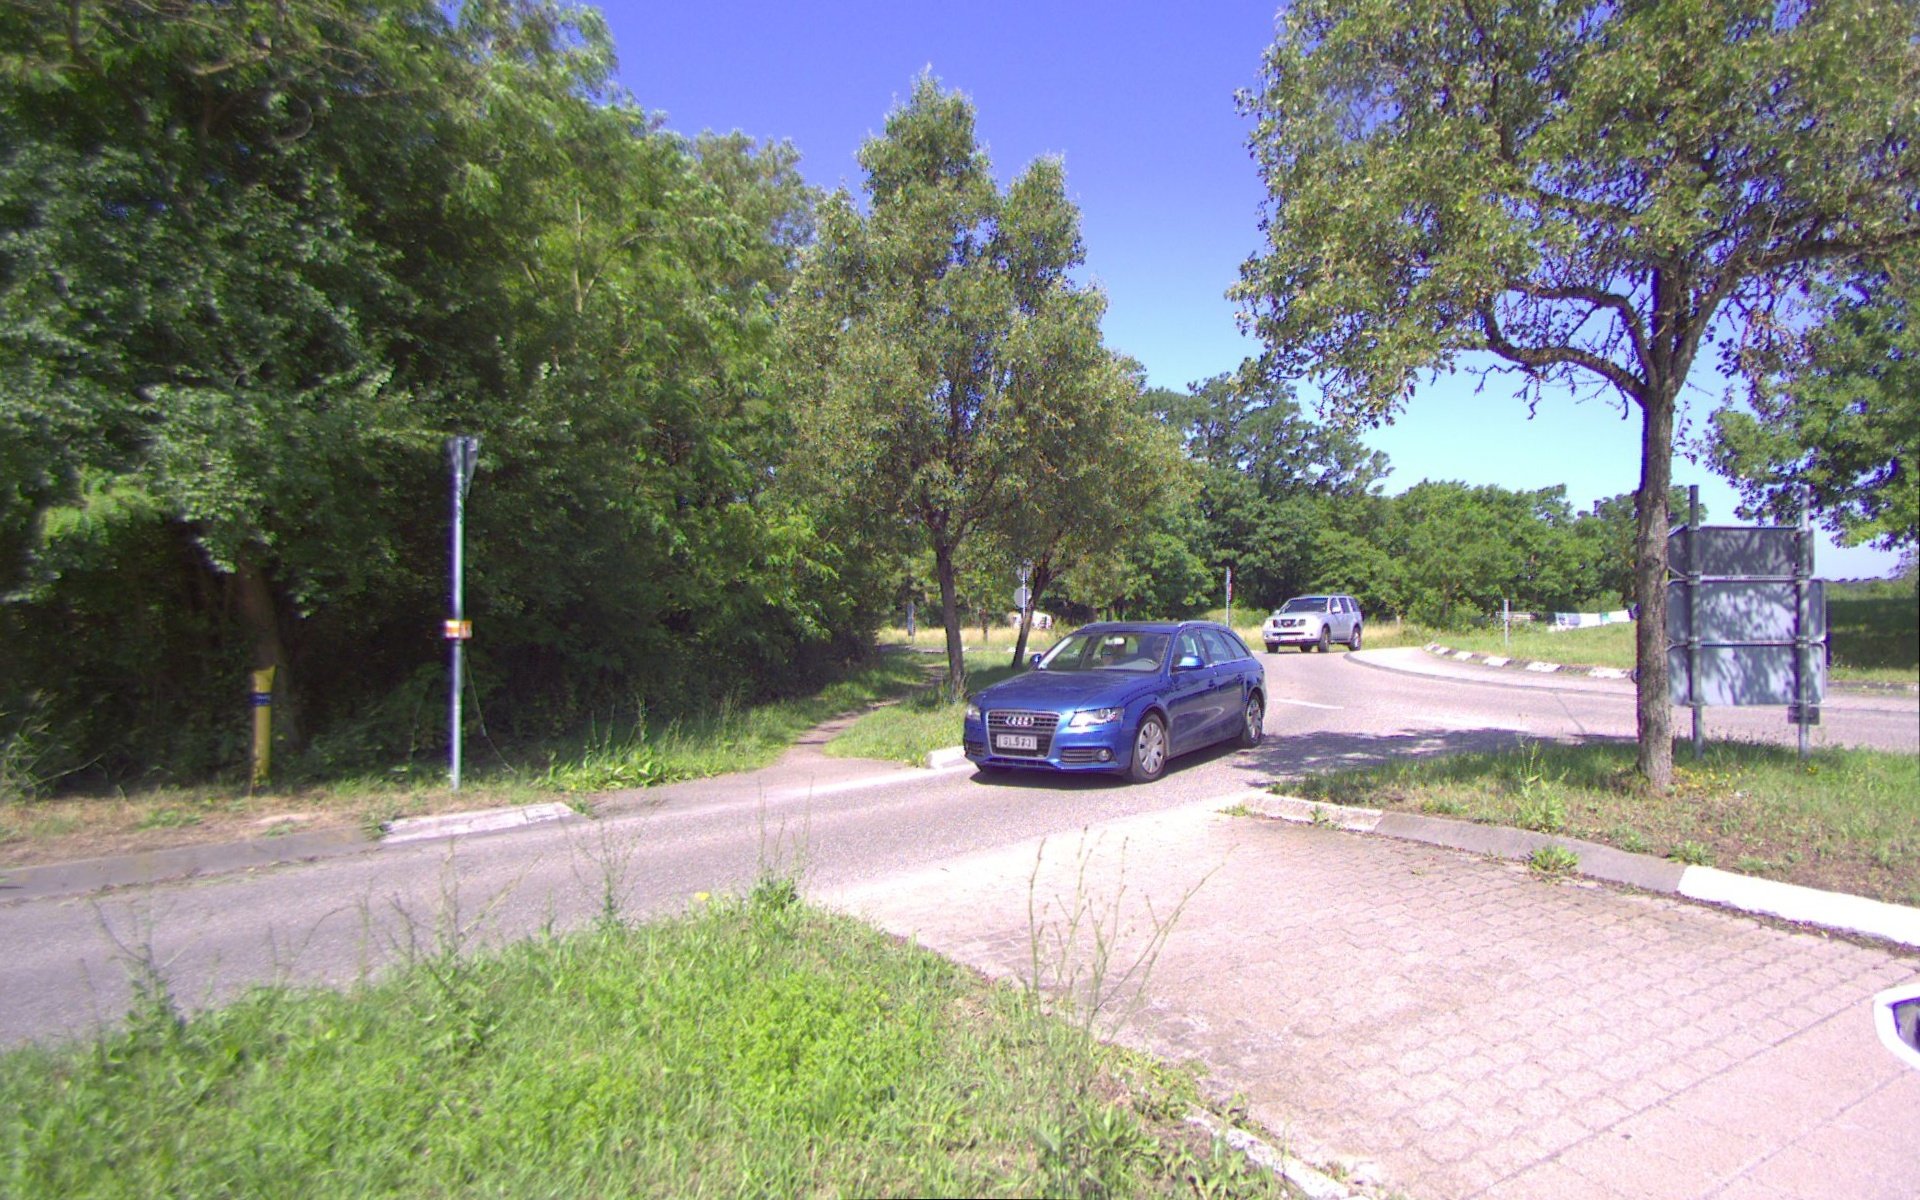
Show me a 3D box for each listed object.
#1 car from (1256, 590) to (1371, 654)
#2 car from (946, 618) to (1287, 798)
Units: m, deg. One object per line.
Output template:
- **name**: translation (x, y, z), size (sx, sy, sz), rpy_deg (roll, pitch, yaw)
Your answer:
- **car**: translation (11.105, 0.686, 31.378), size (1.871, 1.840, 4.574), rpy_deg (-2, -2, 40)
- **car**: translation (1.846, 0.929, 10.391), size (1.808, 1.405, 4.411), rpy_deg (-2, -2, 33)
